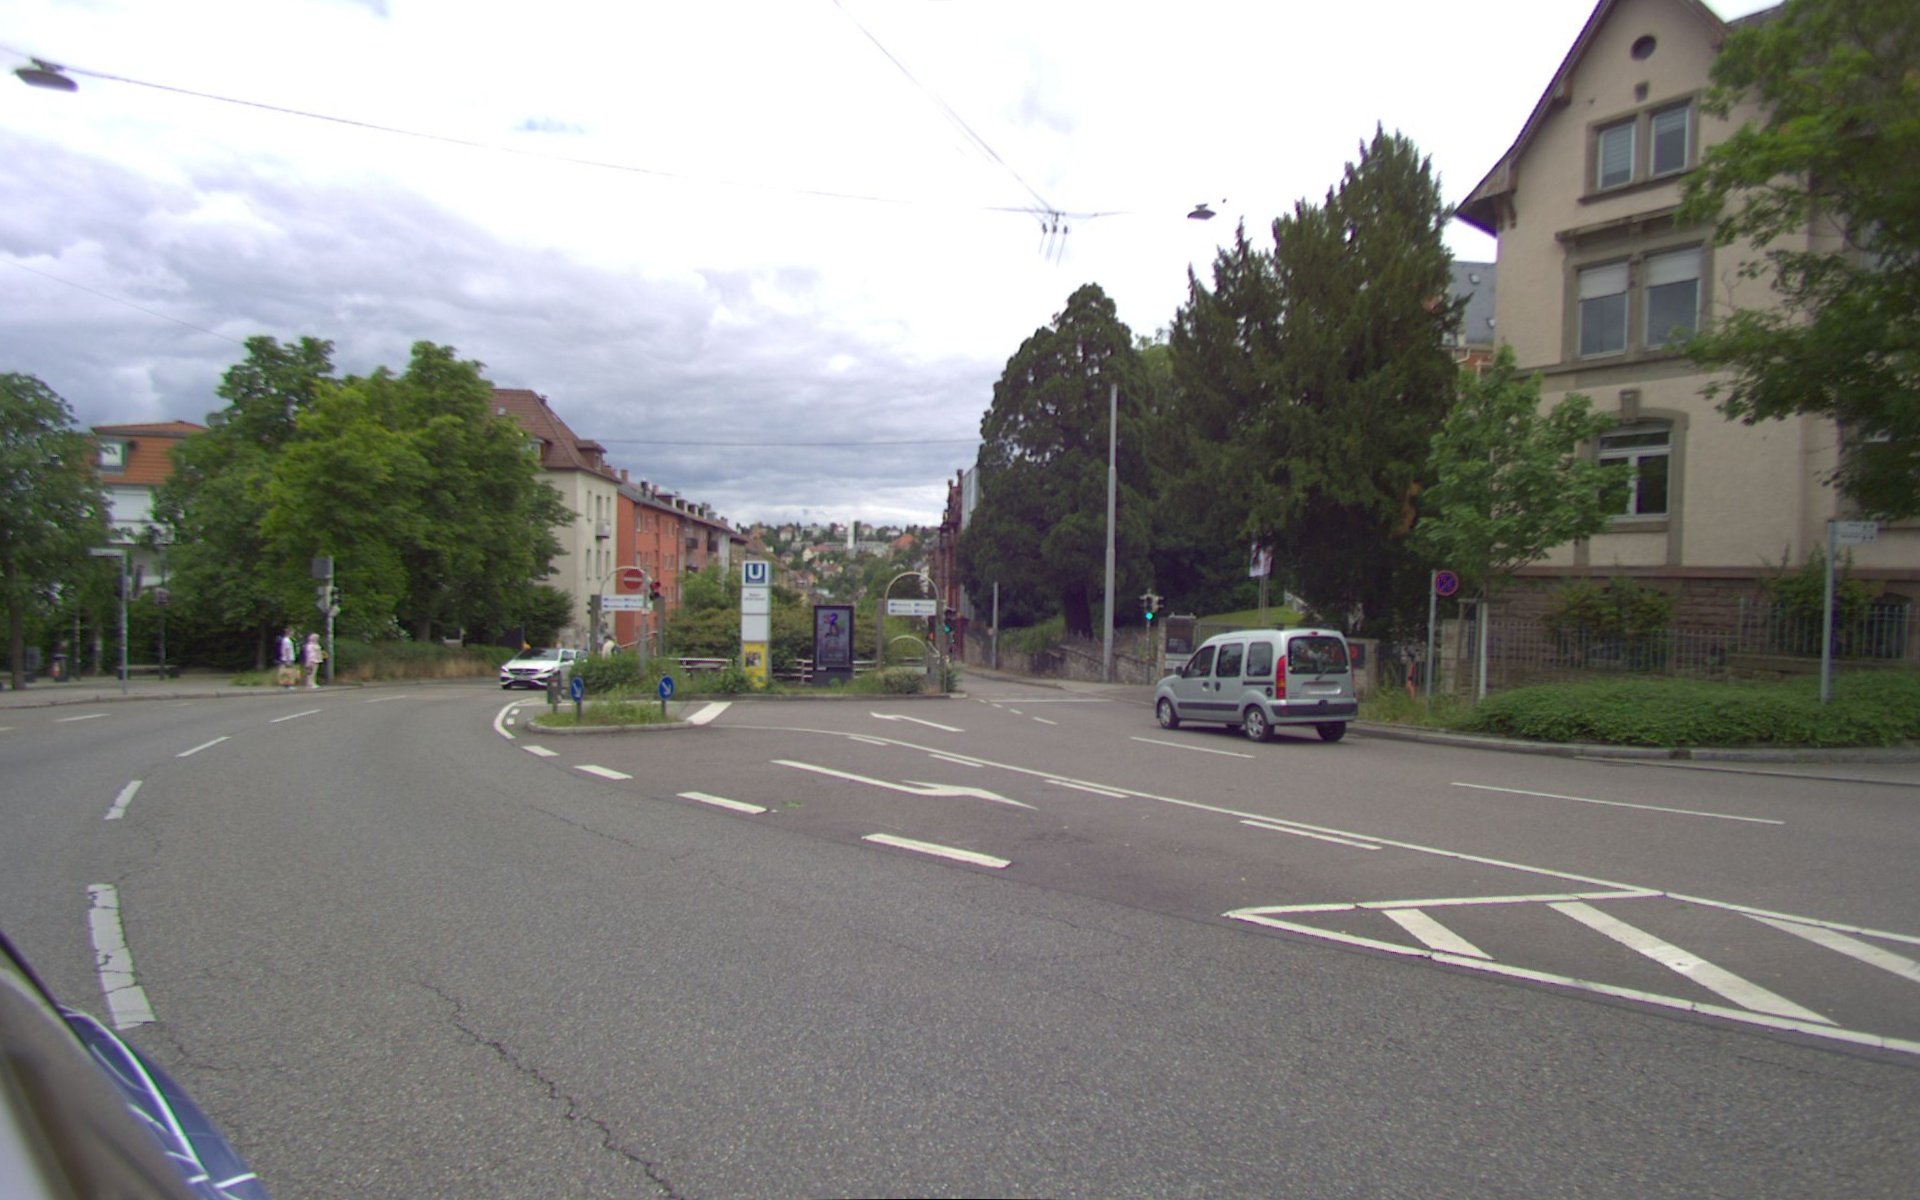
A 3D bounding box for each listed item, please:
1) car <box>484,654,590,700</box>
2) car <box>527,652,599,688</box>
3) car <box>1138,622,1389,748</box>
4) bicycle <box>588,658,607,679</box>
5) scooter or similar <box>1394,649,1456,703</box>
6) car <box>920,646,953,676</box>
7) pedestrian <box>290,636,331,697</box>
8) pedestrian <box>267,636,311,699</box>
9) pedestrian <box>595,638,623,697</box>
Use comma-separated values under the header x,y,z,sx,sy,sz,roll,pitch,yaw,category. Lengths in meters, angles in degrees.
x,y,z,sx,sy,sz,roll,pitch,yaw,category
-14.361,2.576,34.606,1.971,1.409,4.232,2,-3,-3,car
-17.710,3.103,45.392,1.969,1.499,4.235,-1,-3,-6,car
4.979,1.358,17.251,1.884,1.844,4.052,0,-2,-23,car
-21.571,4.070,60.198,0.630,1.152,2.071,4,-4,-29,bicycle
10.305,1.692,22.484,0.543,1.169,1.211,0,-5,-14,scooter or similar
-1.754,4.407,73.464,1.969,2.029,4.006,-1,-2,-7,car
-19.081,1.949,29.752,0.608,1.725,0.727,2,-3,-1,pedestrian
-18.708,1.877,28.231,0.608,1.725,0.727,2,-3,-1,pedestrian
-11.344,2.167,32.714,0.698,1.875,0.614,-1,-4,2,pedestrian
